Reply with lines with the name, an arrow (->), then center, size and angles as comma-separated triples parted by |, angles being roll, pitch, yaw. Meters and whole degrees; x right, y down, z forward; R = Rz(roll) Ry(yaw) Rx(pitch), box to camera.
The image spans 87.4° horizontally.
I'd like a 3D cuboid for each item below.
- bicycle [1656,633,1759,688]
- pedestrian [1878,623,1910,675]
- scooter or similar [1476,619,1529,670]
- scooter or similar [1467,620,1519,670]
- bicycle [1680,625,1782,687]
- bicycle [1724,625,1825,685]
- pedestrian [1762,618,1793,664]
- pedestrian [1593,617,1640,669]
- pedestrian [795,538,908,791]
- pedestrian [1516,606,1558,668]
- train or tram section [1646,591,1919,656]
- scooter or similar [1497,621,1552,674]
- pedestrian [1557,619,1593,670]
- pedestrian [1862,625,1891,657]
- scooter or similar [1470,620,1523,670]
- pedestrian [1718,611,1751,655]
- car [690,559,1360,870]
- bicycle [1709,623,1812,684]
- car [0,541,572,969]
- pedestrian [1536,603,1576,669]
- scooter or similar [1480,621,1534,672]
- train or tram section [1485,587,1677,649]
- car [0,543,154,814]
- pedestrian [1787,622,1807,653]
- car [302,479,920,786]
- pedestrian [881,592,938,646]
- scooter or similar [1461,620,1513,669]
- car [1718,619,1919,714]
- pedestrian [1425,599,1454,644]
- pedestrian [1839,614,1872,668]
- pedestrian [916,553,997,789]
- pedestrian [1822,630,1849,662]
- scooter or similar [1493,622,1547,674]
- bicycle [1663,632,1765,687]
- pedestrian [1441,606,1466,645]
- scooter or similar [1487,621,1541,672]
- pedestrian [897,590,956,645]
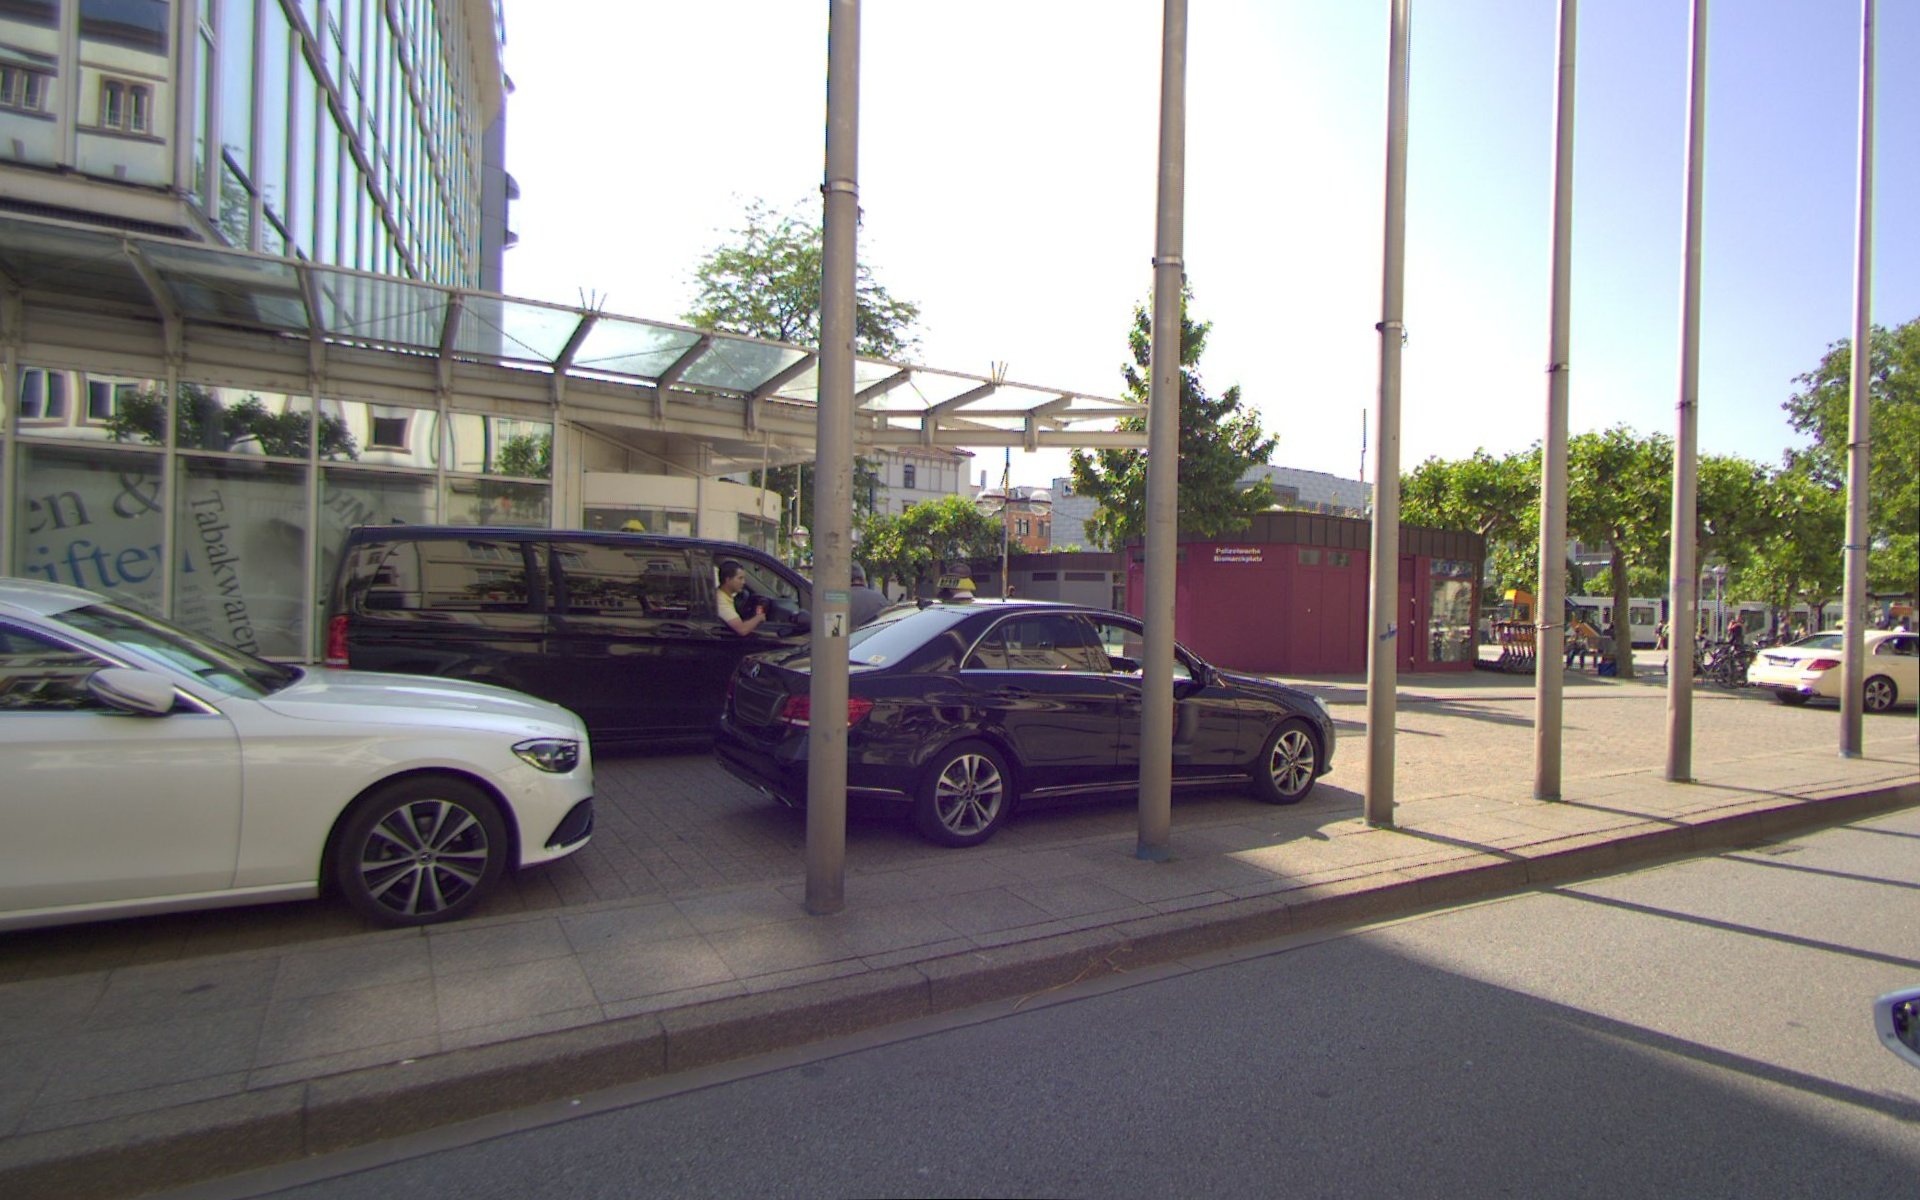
bicycle -> 16.750, 1.330, 22.548 | 0.556, 1.120, 1.771 | 1, 0, -32
pedestrian -> 32.820, 1.712, 35.298 | 0.598, 1.762, 0.574 | 2, 1, -24
scooter or similar -> 13.630, 1.119, 25.243 | 1.280, 1.230, 0.233 | 2, 0, -11
scooter or similar -> 13.669, 1.152, 25.758 | 1.280, 1.230, 0.233 | 2, 0, -11
bicycle -> 17.801, 1.267, 23.221 | 0.556, 1.326, 1.771 | 1, 0, -32
bicycle -> 19.694, 1.306, 24.331 | 0.656, 1.326, 1.771 | 1, 0, -32
pedestrian -> 28.537, 1.419, 35.067 | 0.598, 1.553, 0.574 | 2, 1, -24
pedestrian -> 18.331, 1.195, 28.050 | 0.884, 1.400, 0.670 | 1, 0, -21
pedestrian -> -0.808, 0.465, 7.606 | 0.679, 1.816, 0.620 | 1, 0, 9
pedestrian -> 15.690, 1.005, 27.305 | 0.668, 1.627, 0.795 | 1, 1, -43
train or tram section -> 53.851, 1.500, 65.874 | 15.234, 3.726, 2.623 | 1, 0, 4
scooter or similar -> 13.638, 1.149, 24.255 | 1.280, 1.230, 0.233 | 2, 0, -11
pedestrian -> 16.352, 1.171, 26.714 | 0.663, 1.326, 0.683 | 2, 1, 43
pedestrian -> 37.566, 1.681, 41.189 | 0.599, 1.279, 0.612 | 1, 0, -4
scooter or similar -> 13.626, 1.144, 25.504 | 1.280, 1.230, 0.233 | 2, 0, -11
pedestrian -> 31.739, 1.339, 41.161 | 0.788, 1.772, 0.606 | 2, 0, 1
car -> 0.622, 0.636, 7.221 | 4.656, 1.621, 1.751 | 1, 0, -32
bicycle -> 18.937, 1.250, 23.799 | 0.656, 1.326, 1.771 | 1, 0, -32
car -> -4.244, 0.537, 4.189 | 4.683, 1.543, 1.790 | 1, 1, -31
pedestrian -> 15.705, 0.948, 26.460 | 0.681, 1.700, 0.666 | 1, 1, -38
scooter or similar -> 13.607, 1.155, 24.989 | 1.280, 1.230, 0.233 | 2, 0, -11
train or tram section -> 41.202, 1.169, 66.946 | 10.779, 3.726, 2.623 | 1, 0, 5
car -> -7.654, 0.413, 5.918 | 4.356, 1.632, 1.980 | 2, 0, -35
pedestrian -> 35.465, 1.602, 42.561 | 0.602, 1.279, 0.610 | 1, 0, 38
car -> -2.819, 0.255, 8.660 | 4.630, 2.040, 1.823 | 1, 0, -30
pedestrian -> -1.361, 0.517, 26.974 | 1.245, 1.404, 0.850 | 1, 0, -31
scooter or similar -> 13.641, 1.153, 26.014 | 1.280, 1.230, 0.264 | 2, 0, -11
car -> 17.291, 1.252, 18.839 | 4.768, 1.562, 1.896 | 2, 0, -3
pedestrian -> 20.119, 0.907, 42.138 | 0.601, 1.822, 0.795 | 4, -1, -37
pedestrian -> 32.337, 1.481, 36.279 | 0.651, 1.904, 0.631 | 3, 1, 27
pedestrian -> -0.019, 0.551, 8.058 | 0.528, 1.816, 0.533 | 1, 0, 9
pedestrian -> 36.536, 1.916, 41.918 | 0.599, 1.279, 0.613 | 1, 0, 6
scooter or similar -> 13.662, 1.172, 24.513 | 1.280, 1.230, 0.233 | 2, 0, -11
bicycle -> 17.260, 1.345, 23.031 | 0.556, 1.147, 1.771 | 1, 0, -32
pedestrian -> 23.162, 1.211, 47.163 | 0.600, 1.772, 0.796 | 2, 1, -35
scooter or similar -> 13.652, 1.149, 24.750 | 1.280, 1.230, 0.233 | 2, 0, -11
pedestrian -> -0.878, 0.457, 26.304 | 1.295, 1.404, 0.850 | 1, 0, -31
